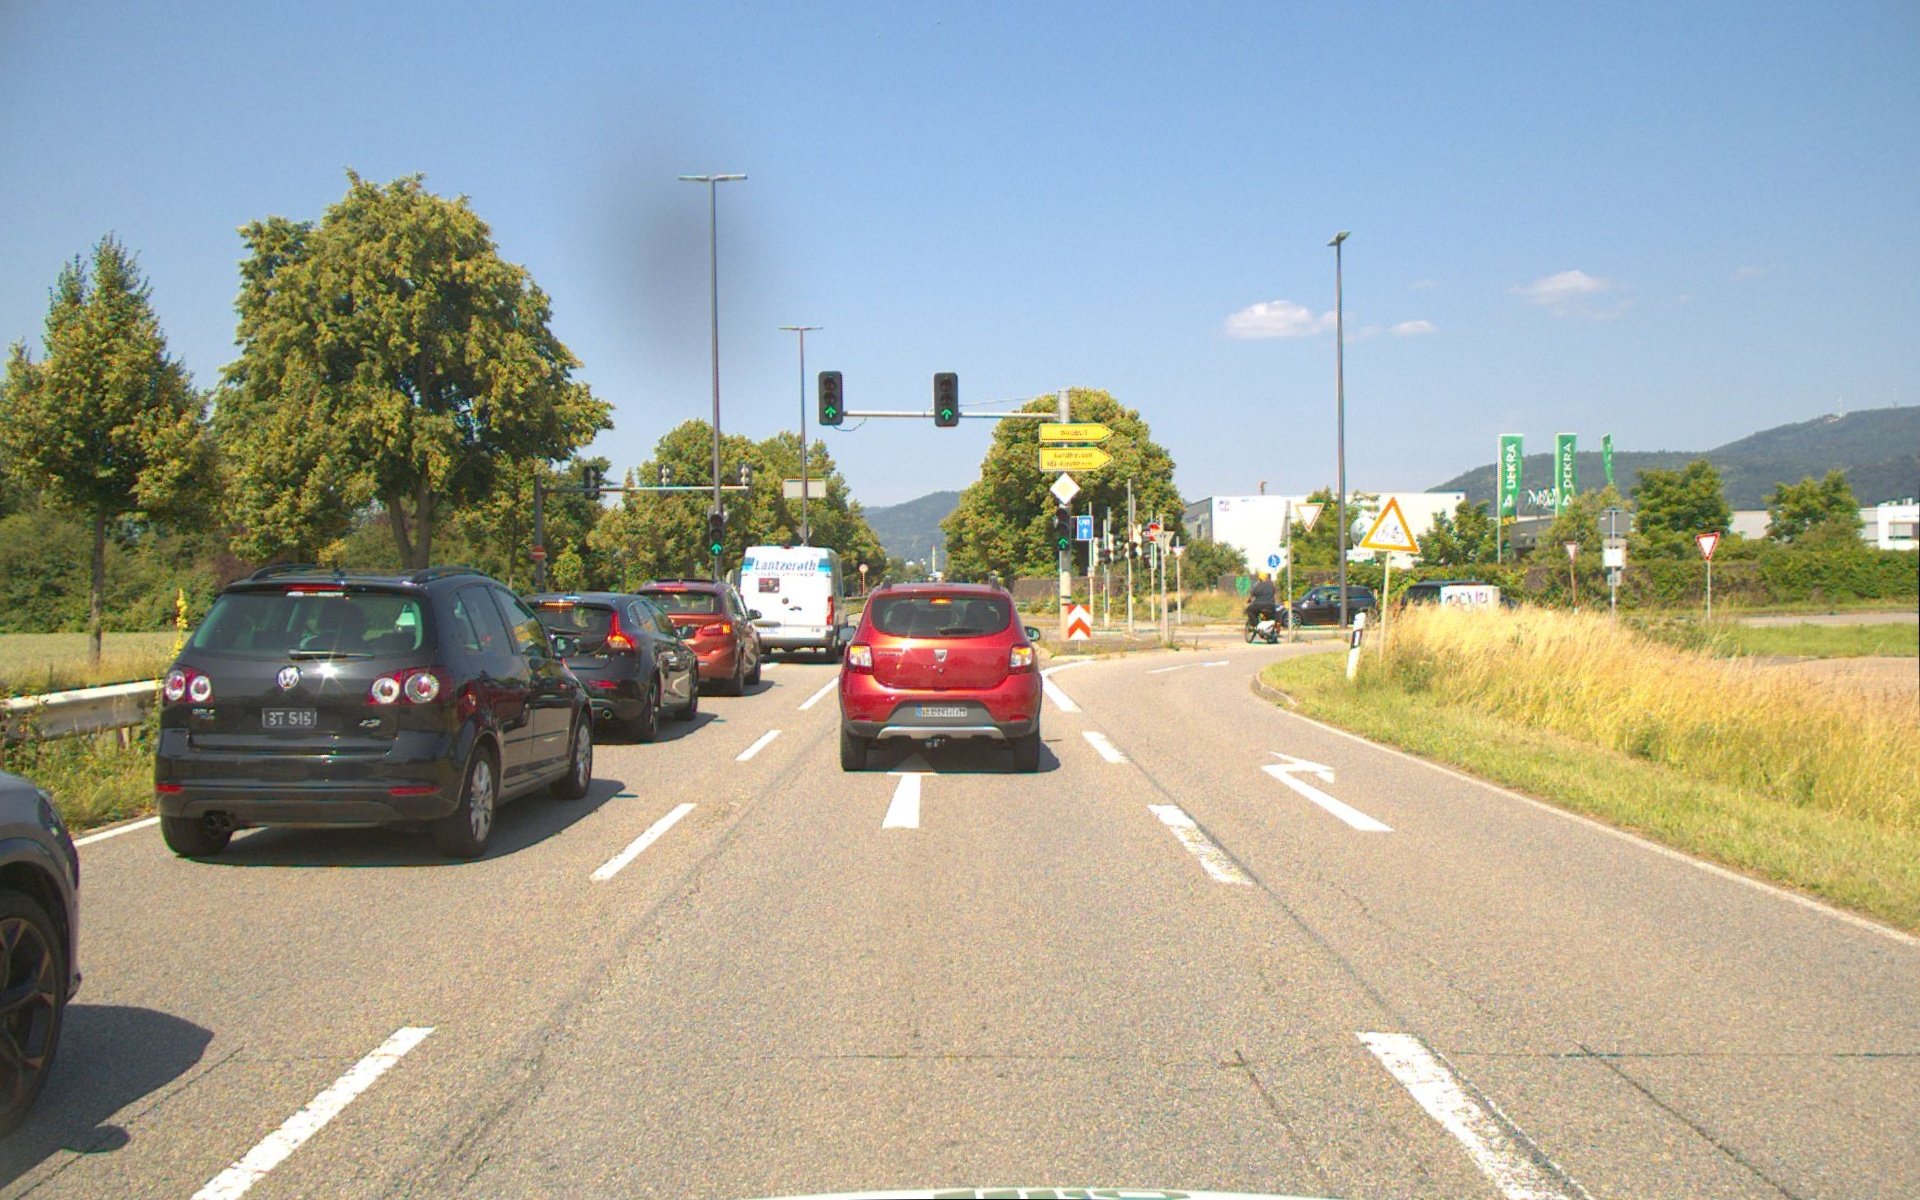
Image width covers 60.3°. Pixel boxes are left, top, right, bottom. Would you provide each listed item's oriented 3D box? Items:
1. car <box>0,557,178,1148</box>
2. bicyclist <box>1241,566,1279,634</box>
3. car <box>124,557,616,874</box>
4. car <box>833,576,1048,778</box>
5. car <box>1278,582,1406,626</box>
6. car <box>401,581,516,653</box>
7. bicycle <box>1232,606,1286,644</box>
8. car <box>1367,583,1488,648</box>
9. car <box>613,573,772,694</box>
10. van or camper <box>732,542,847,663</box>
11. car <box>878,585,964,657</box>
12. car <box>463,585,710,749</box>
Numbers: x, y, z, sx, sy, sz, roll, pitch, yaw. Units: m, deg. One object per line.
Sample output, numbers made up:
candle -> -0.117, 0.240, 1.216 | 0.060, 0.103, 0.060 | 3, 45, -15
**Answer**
car -> -3.314, 0.660, 3.073 | 1.710, 1.529, 4.362 | 0, 1, -1
bicyclist -> 8.058, -0.006, 44.476 | 0.786, 1.802, 0.808 | -1, 0, -6
car -> -3.415, 0.569, 10.386 | 1.688, 1.603, 3.892 | 0, 1, 0
car -> -0.125, 0.600, 15.076 | 1.713, 1.603, 3.677 | 0, 0, 1
car -> 12.545, 0.118, 54.542 | 3.902, 1.350, 1.808 | -1, 1, 6
car -> -14.598, 0.454, 48.413 | 1.953, 1.964, 5.014 | -1, 1, -2
bicycle -> 8.027, 0.668, 44.546 | 0.746, 0.931, 2.777 | -1, 1, -4
car -> 12.649, 0.387, 44.549 | 1.958, 1.645, 4.327 | 0, 0, 33
car -> -3.820, 0.435, 24.203 | 1.689, 1.628, 3.955 | 0, 0, 0
van or camper -> -3.484, 0.034, 34.649 | 2.136, 2.343, 4.824 | 1, 0, -3
car -> -0.802, 0.412, 35.932 | 1.713, 1.483, 3.677 | 0, 1, 1
car -> -3.752, 0.599, 17.262 | 1.667, 1.467, 3.955 | 1, 1, 0
